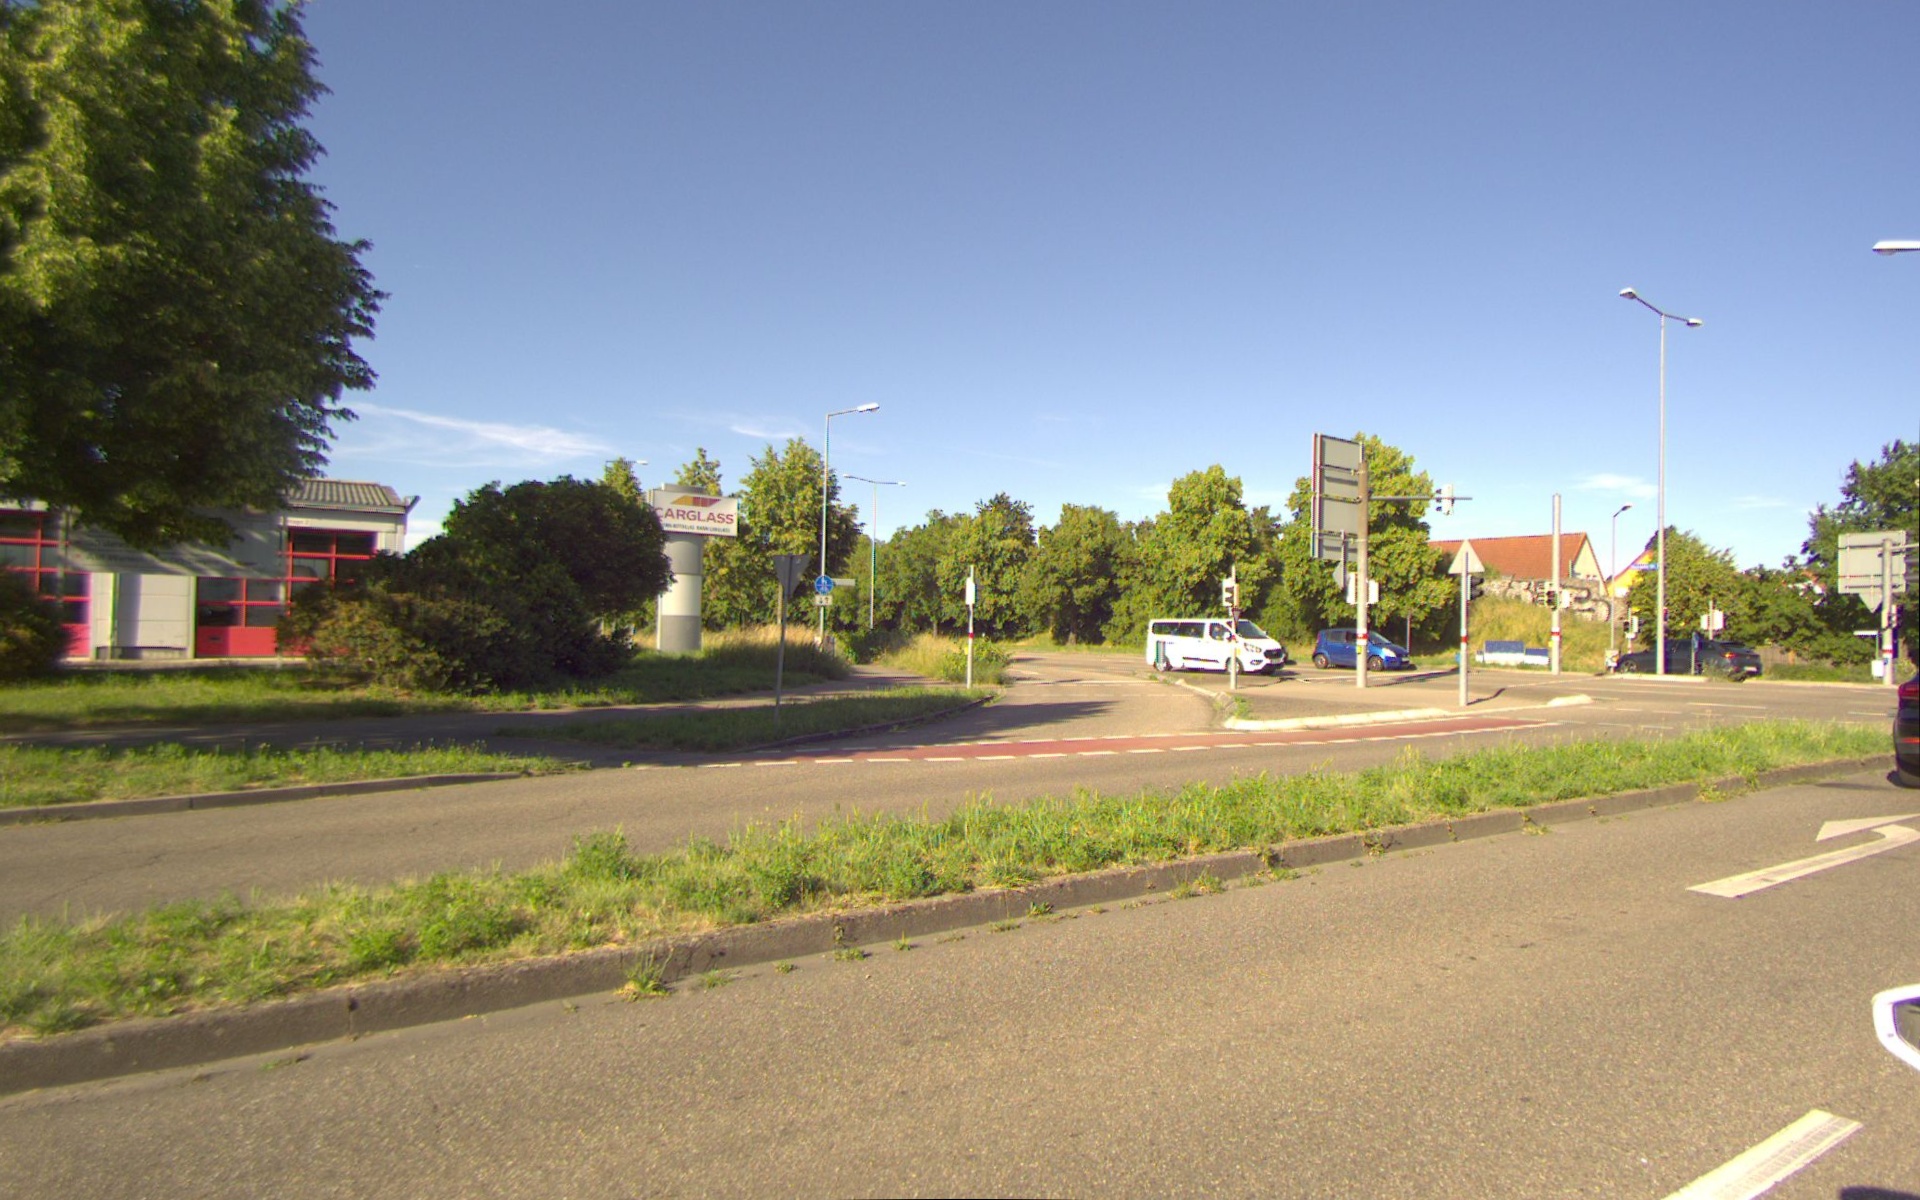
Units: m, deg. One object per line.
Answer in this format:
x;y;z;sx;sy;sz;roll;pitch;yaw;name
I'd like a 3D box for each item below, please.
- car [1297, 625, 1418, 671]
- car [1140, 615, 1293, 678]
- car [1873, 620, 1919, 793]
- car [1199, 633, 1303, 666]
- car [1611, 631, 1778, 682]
15.386;1.827;39.005;1.875;1.666;3.999;0;-1;-36;car
9.032;1.591;35.786;2.028;2.040;5.222;0;-1;-36;car
11.146;1.069;10.120;3.953;1.649;1.818;2;-1;-31;car
12.415;2.082;43.094;1.875;1.291;3.999;0;-1;-36;car
25.409;1.922;34.956;2.014;1.637;4.403;1;-2;-16;car
